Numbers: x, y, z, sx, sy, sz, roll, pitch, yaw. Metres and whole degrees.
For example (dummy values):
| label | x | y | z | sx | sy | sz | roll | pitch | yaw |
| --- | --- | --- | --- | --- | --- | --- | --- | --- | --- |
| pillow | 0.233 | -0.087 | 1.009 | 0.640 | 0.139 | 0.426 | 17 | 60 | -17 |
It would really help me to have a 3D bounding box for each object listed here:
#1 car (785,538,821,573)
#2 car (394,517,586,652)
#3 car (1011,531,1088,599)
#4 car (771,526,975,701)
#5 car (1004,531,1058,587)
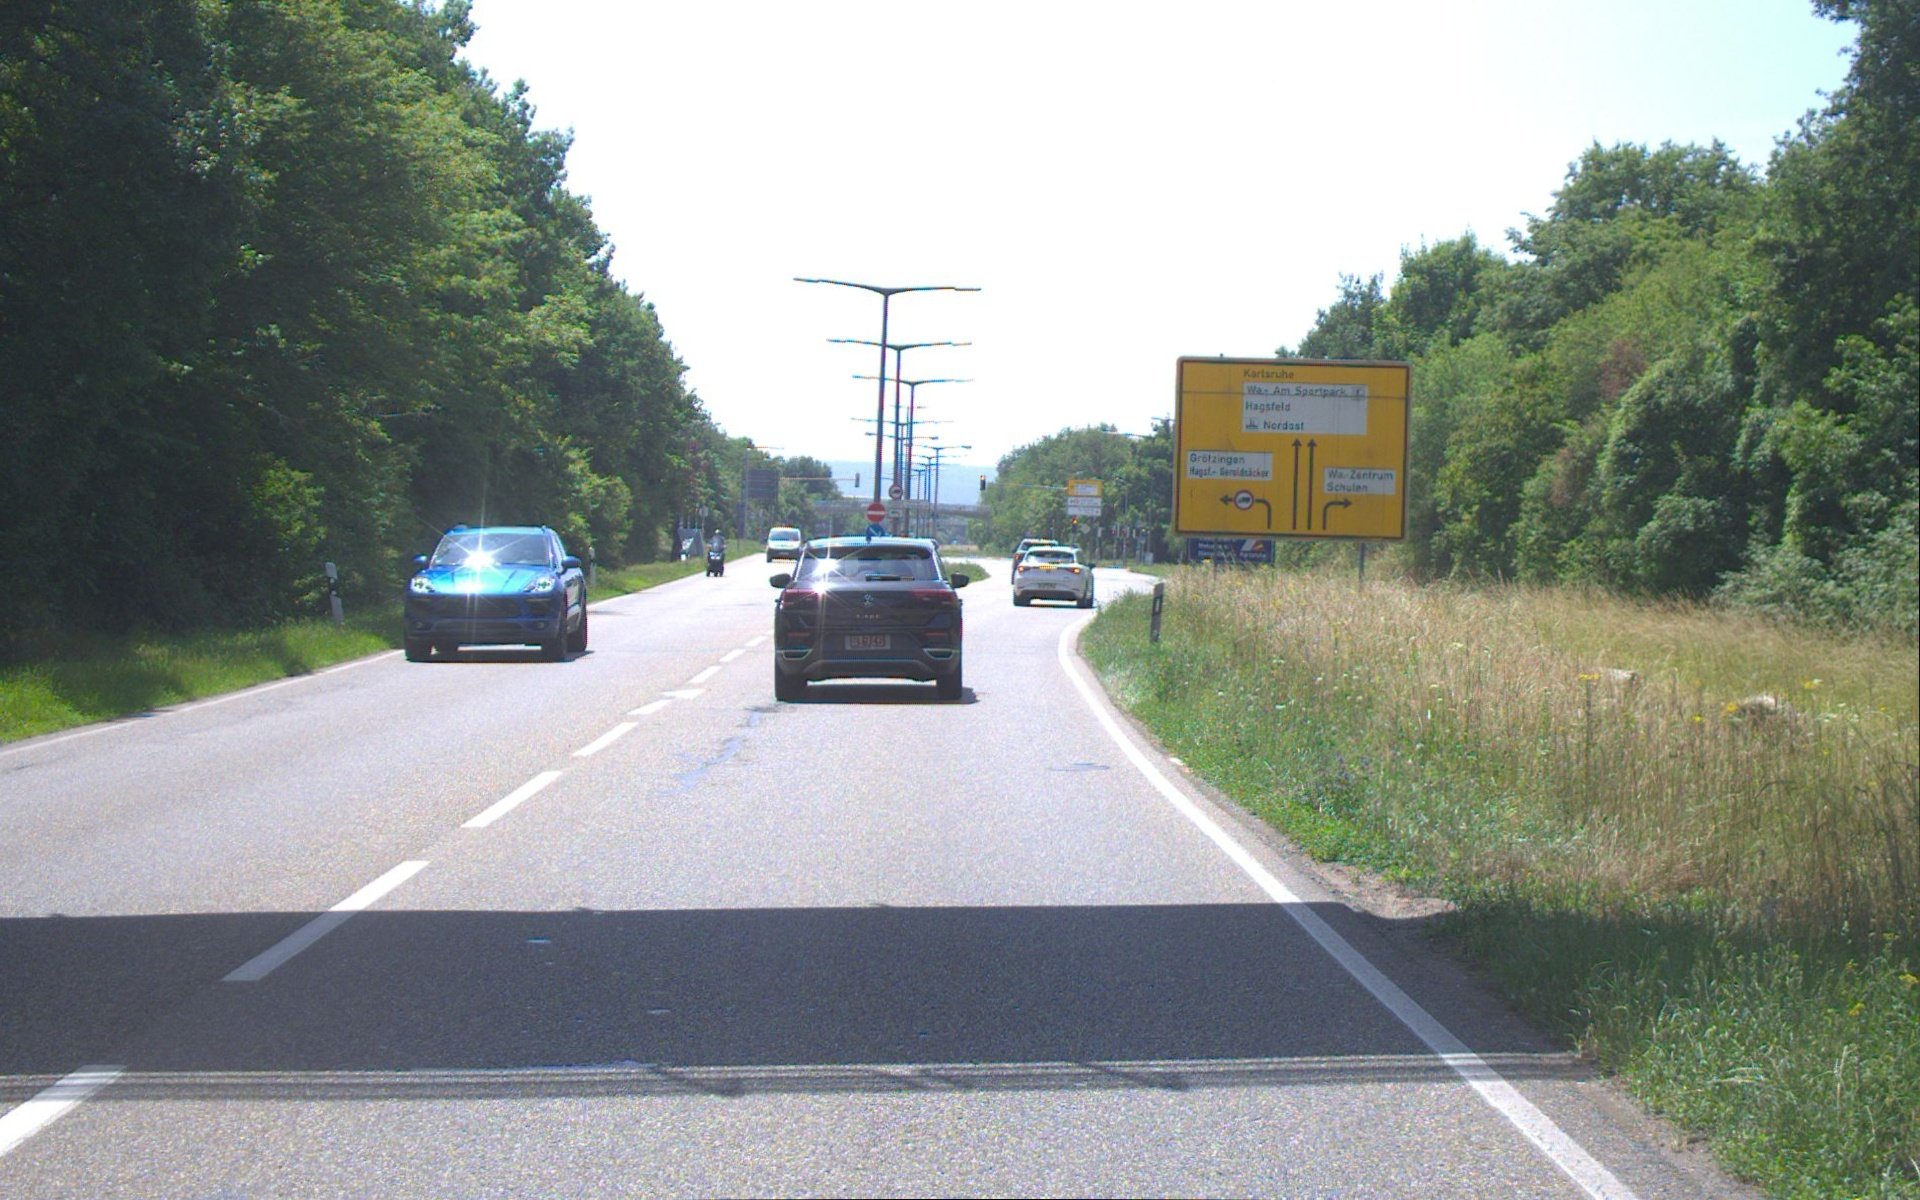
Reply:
| label | x | y | z | sx | sy | sz | roll | pitch | yaw |
| --- | --- | --- | --- | --- | --- | --- | --- | --- | --- |
| car | -7.776 | -2.229 | 170.554 | 1.731 | 1.682 | 4.095 | 0 | 1 | -1 |
| car | -5.778 | -0.229 | 42.696 | 1.823 | 1.584 | 4.420 | 0 | 1 | -1 |
| car | 2.139 | -0.852 | 83.104 | 1.797 | 1.577 | 4.000 | 0 | 1 | 0 |
| car | -0.905 | 0.094 | 33.436 | 1.755 | 1.551 | 4.001 | 2 | 1 | -4 |
| car | 2.609 | -1.508 | 126.600 | 1.755 | 1.922 | 4.000 | 3 | 1 | -1 |
